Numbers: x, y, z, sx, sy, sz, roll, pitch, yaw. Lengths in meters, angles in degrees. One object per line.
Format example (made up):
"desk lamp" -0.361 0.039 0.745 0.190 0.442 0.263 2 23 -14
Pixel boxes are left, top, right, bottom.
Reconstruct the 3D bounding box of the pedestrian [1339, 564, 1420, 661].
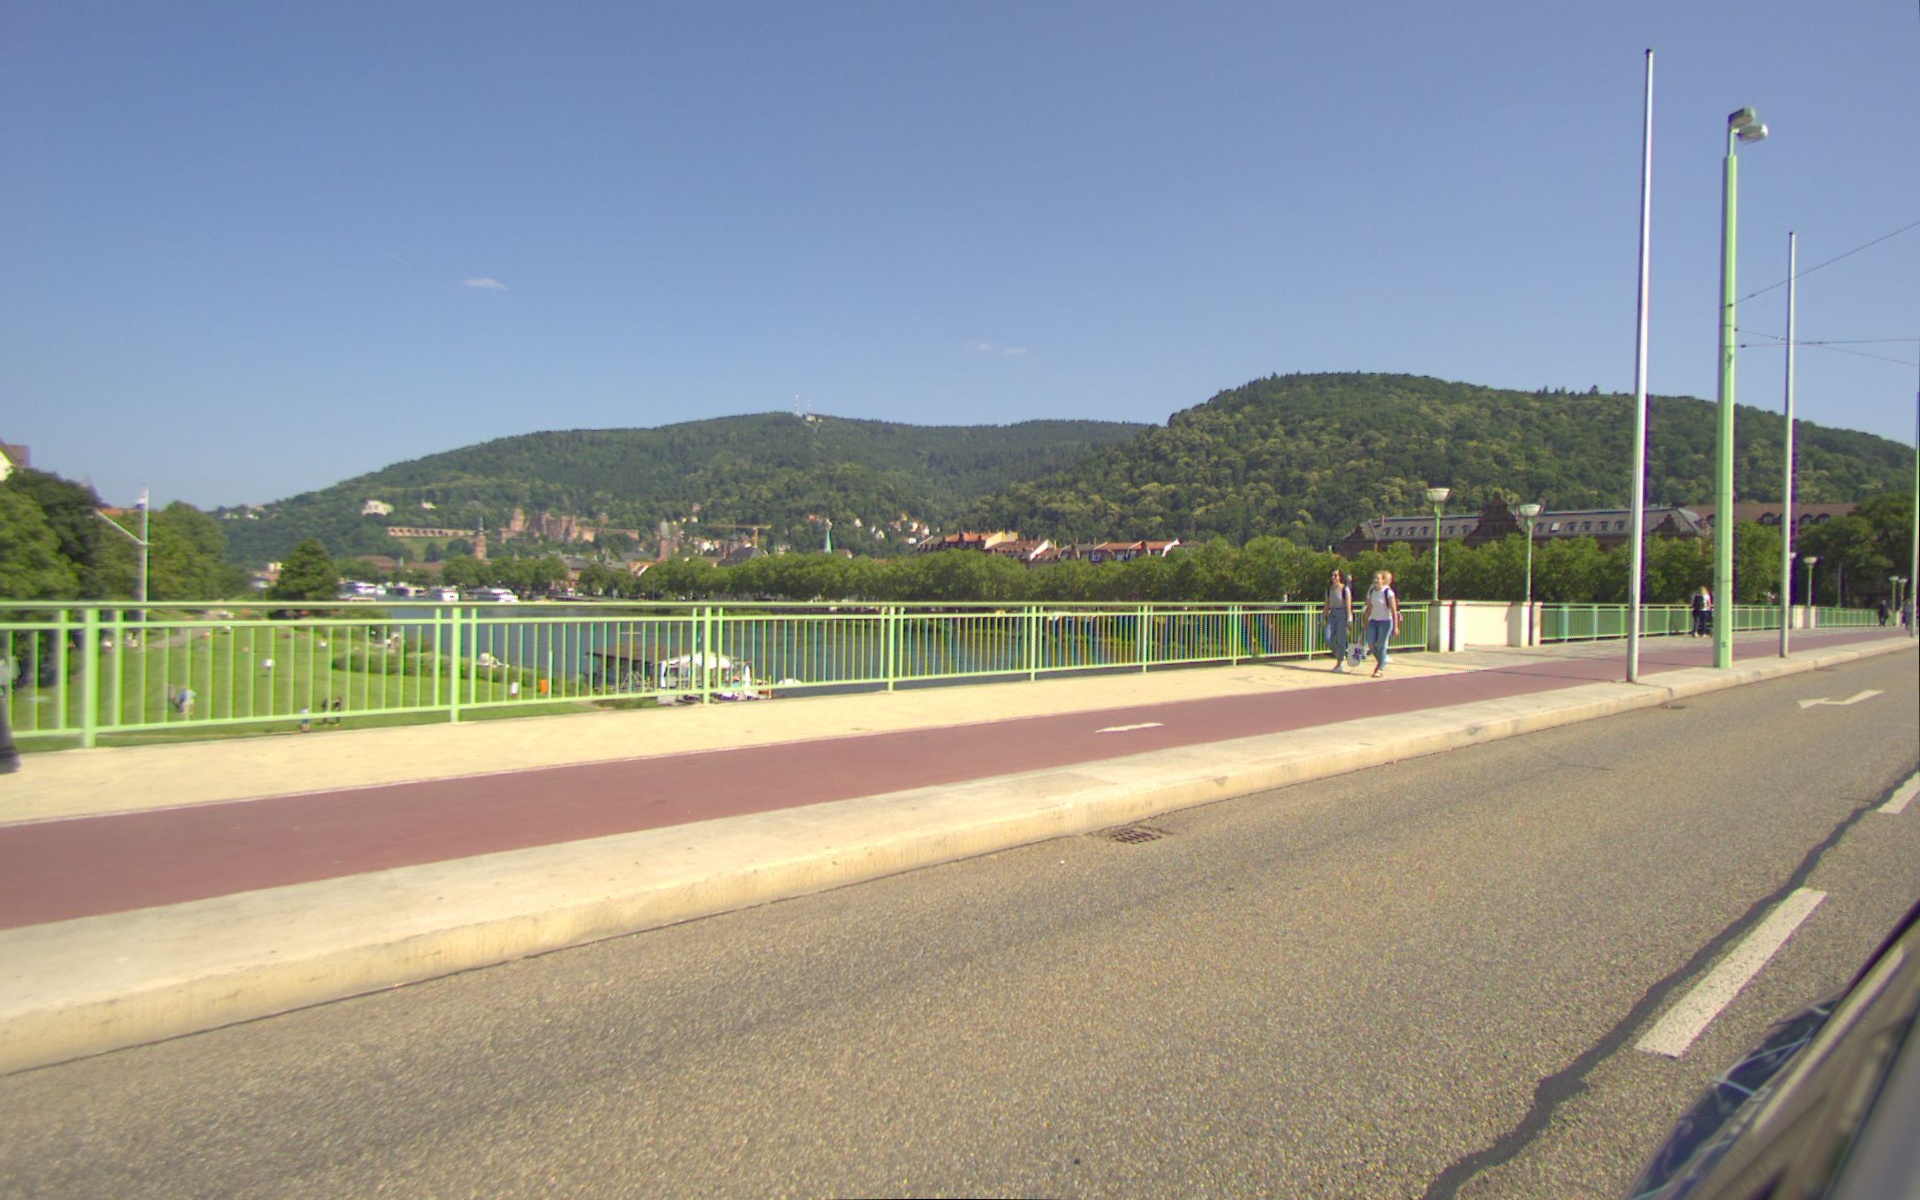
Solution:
"pedestrian" 7.733 0.209 18.654 1.063 1.683 0.949 0 2 -41

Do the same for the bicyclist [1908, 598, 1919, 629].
"bicyclist" 52.911 0.739 55.834 0.829 1.685 0.731 0 1 -40

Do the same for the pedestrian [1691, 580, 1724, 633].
"pedestrian" 24.667 0.208 33.383 0.844 1.727 0.664 0 2 -41

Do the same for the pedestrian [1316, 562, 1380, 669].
"pedestrian" 6.269 0.232 16.369 0.733 1.679 0.668 0 2 -41

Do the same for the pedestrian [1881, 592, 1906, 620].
"pedestrian" 58.588 0.372 63.509 1.063 1.683 0.949 0 2 -41

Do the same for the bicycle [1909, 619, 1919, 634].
"bicycle" 52.939 1.485 55.882 1.834 0.775 0.595 0 2 -41

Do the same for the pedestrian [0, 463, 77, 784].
"pedestrian" -6.218 0.126 6.259 1.117 1.921 0.927 0 1 -41

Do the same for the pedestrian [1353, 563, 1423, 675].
"pedestrian" 6.652 0.272 15.725 0.811 1.679 0.664 0 2 -41

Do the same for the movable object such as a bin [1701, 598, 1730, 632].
"movable object such as a bin" 25.317 0.502 33.889 0.917 1.104 0.583 0 1 -42
